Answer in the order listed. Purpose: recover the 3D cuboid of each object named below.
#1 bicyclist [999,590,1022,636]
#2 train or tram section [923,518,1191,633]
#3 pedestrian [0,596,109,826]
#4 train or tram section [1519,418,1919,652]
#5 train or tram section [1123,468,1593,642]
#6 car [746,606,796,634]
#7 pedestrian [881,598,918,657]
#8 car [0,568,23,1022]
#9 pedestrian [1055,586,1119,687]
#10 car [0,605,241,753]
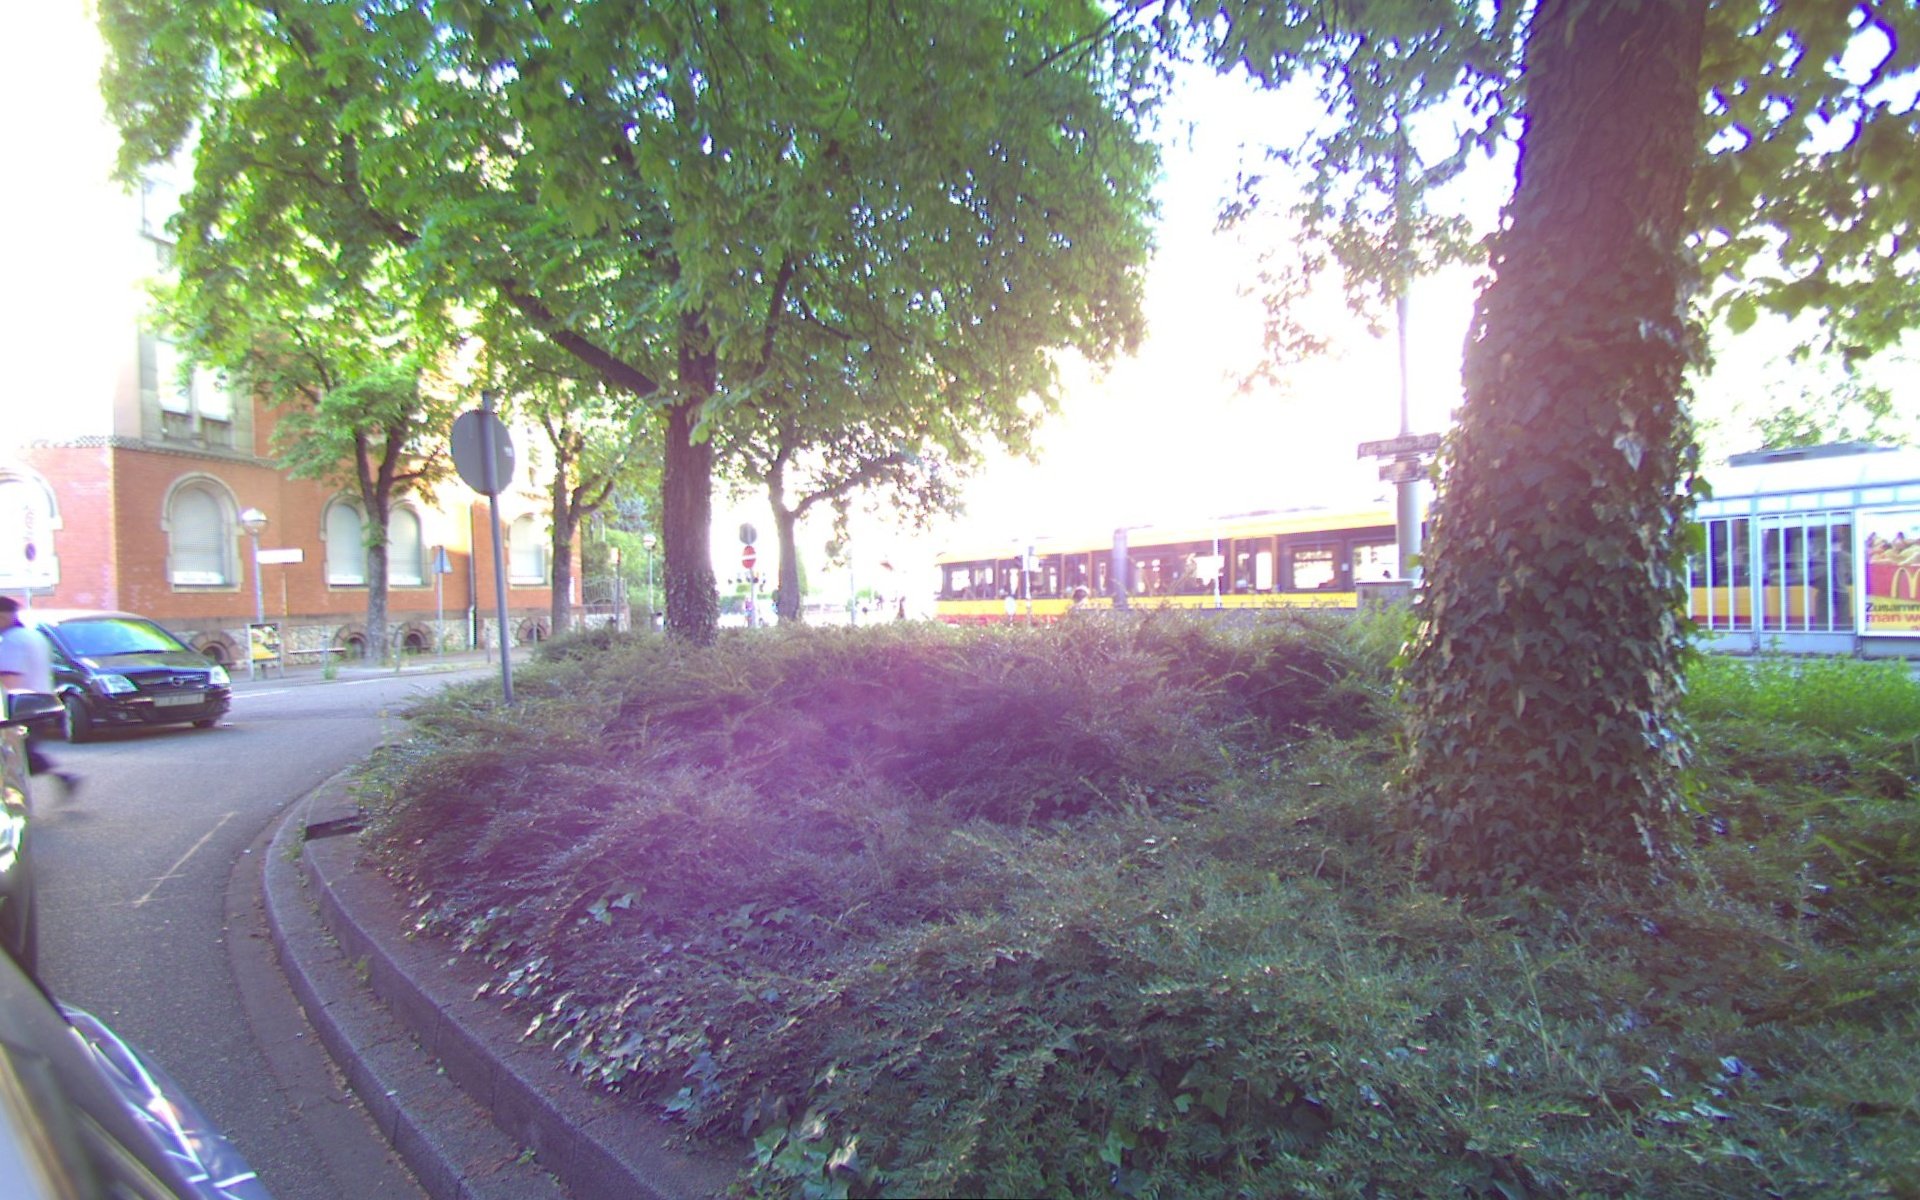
[{"bbox_3d":[1.787,0.461,35.849,0.588,1.585,0.557,-2,0,-30],"label":"bicyclist"},{"bbox_3d":[2.989,-0.723,37.795,2.727,3.584,12.718,-2,0,-32],"label":"train or tram section"},{"bbox_3d":[-6.884,0.791,7.425,0.930,1.604,0.643,-2,0,-42],"label":"pedestrian"},{"bbox_3d":[15.980,-1.050,16.793,2.753,3.647,11.835,-2,0,-32],"label":"train or tram section"},{"bbox_3d":[9.598,-0.893,27.103,2.739,3.614,12.456,-2,0,-32],"label":"train or tram section"},{"bbox_3d":[-10.233,1.068,54.528,1.707,1.428,4.013,-2,0,-25],"label":"car"},{"bbox_3d":[-1.778,0.813,29.833,0.720,1.647,0.899,-3,1,20],"label":"pedestrian"},{"bbox_3d":[-5.434,0.736,4.533,1.768,1.590,4.264,-1,-1,-43],"label":"car"},{"bbox_3d":[1.901,0.530,15.135,0.698,1.454,0.602,-2,0,-25],"label":"pedestrian"},{"bbox_3d":[-11.321,0.961,13.051,3.664,1.640,1.668,-2,0,24],"label":"car"}]
